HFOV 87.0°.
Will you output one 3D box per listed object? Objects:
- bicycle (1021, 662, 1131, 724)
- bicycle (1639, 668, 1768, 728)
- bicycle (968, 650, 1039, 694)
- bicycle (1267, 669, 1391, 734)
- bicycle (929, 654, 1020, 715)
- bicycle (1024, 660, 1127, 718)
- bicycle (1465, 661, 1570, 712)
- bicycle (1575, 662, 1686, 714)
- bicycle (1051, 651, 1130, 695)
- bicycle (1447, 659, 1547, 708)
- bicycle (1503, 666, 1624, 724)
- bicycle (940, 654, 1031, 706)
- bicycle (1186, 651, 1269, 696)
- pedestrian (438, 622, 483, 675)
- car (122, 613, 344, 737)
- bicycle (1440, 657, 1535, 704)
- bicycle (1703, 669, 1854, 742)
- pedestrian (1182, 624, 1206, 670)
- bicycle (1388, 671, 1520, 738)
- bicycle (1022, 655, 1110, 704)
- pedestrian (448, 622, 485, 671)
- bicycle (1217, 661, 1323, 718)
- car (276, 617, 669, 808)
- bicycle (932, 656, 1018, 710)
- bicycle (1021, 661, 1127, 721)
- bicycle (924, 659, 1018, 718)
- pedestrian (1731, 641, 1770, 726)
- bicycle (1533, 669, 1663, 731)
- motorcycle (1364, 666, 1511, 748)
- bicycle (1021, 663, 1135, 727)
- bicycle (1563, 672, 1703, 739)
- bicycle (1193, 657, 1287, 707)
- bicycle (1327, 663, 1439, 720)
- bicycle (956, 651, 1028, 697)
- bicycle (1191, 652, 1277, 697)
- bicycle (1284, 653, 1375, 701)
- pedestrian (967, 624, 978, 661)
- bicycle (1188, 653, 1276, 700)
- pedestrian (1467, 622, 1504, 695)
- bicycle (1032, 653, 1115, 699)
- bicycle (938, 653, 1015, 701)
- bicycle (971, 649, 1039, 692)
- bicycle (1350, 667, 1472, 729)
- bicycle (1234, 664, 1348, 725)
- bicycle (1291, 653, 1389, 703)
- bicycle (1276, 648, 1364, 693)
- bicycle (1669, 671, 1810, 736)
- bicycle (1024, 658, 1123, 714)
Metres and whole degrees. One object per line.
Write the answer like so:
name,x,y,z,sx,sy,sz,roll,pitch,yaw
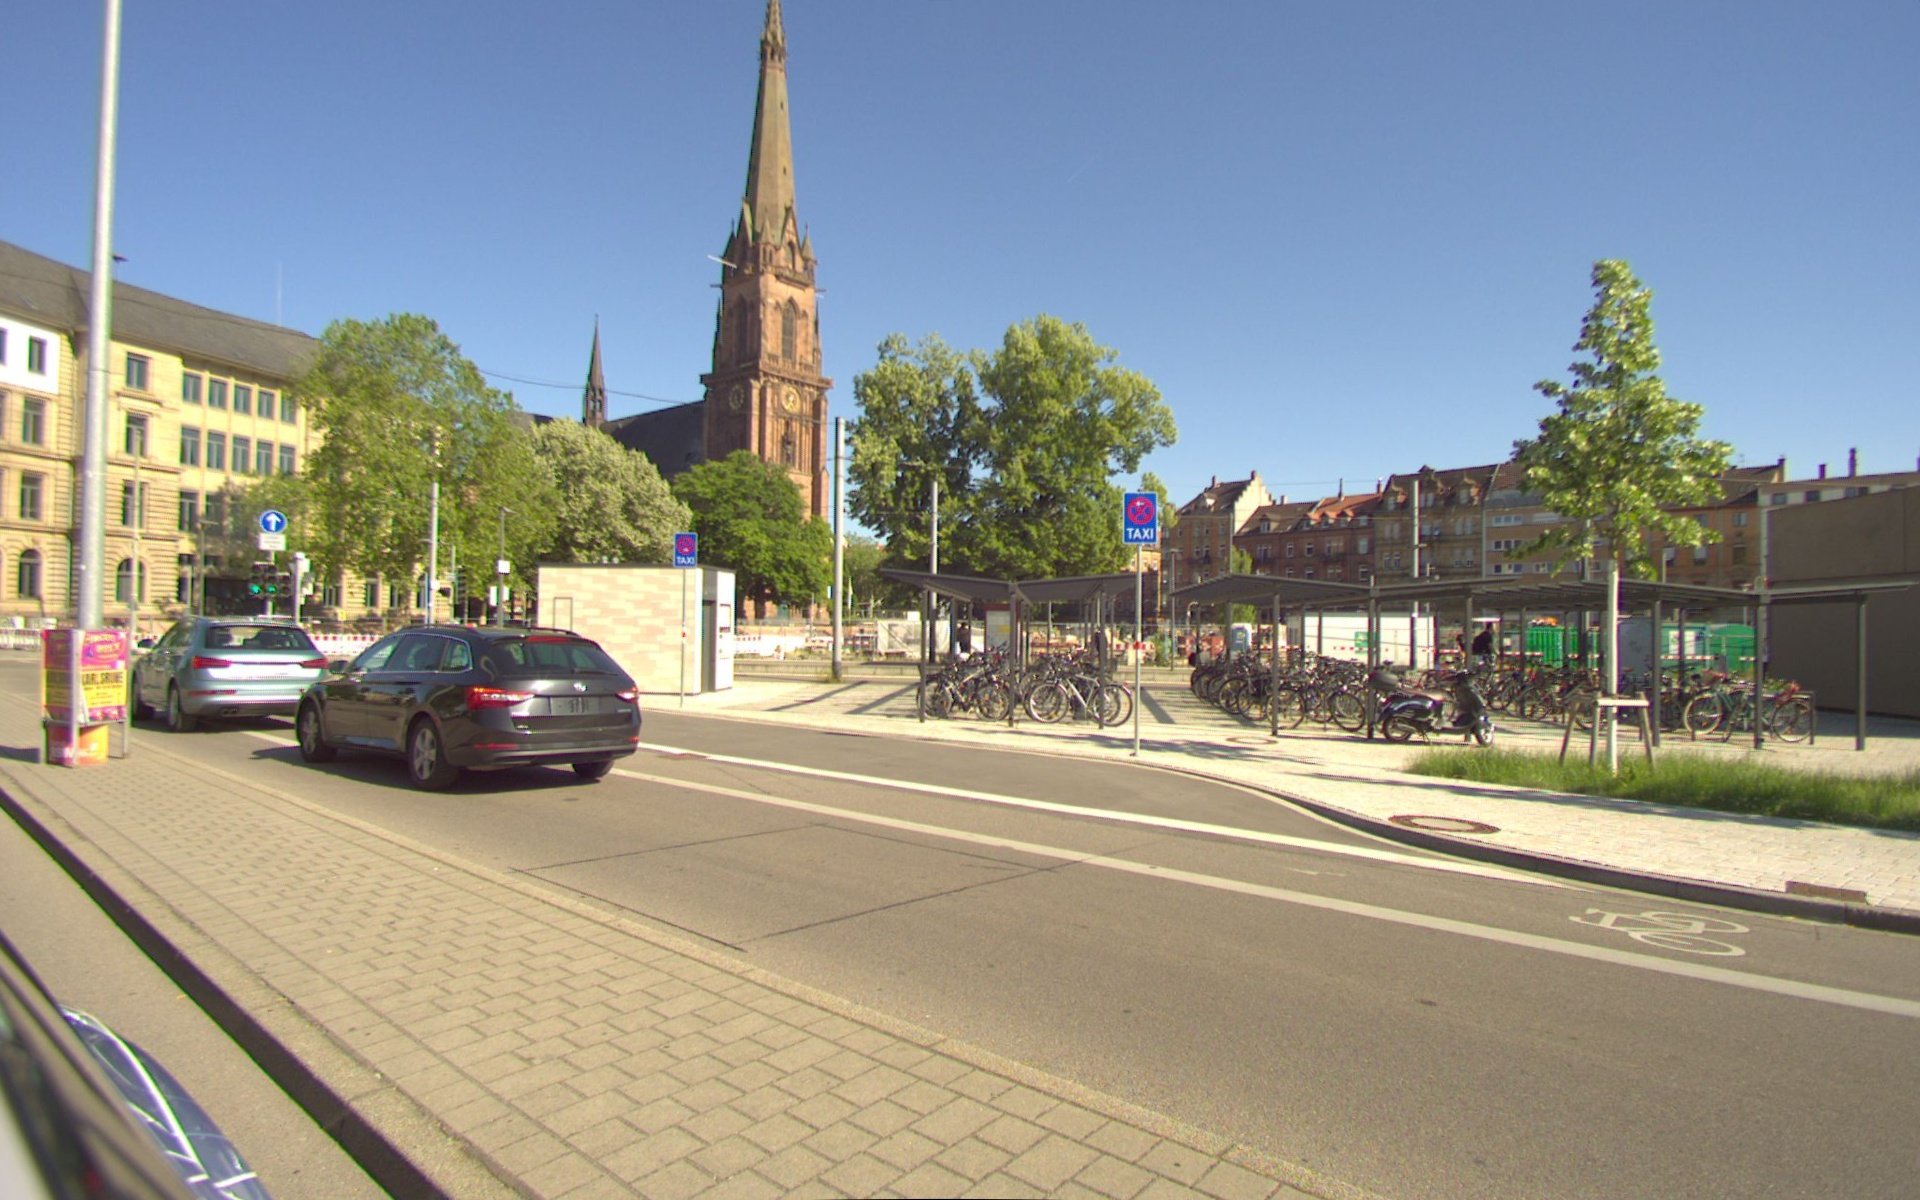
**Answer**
bicycle,2.020,1.619,17.679,1.882,1.016,0.456,0,-2,8
bicycle,13.470,1.771,18.369,1.882,1.016,0.456,0,-2,8
bicycle,1.043,1.709,24.231,1.652,1.016,0.456,0,-2,8
bicycle,6.122,1.676,16.844,1.882,1.016,0.456,0,-2,8
bicycle,0.281,1.562,18.781,1.652,1.069,0.456,0,-2,8
bicycle,2.137,1.640,18.748,1.882,1.016,0.456,0,-2,8
bicycle,11.715,1.808,21.318,1.882,1.016,0.456,0,-2,8
bicycle,13.874,1.812,20.976,1.882,1.016,0.456,0,-2,8
bicycle,3.163,1.771,24.604,1.882,1.016,0.456,0,-2,8
bicycle,11.784,1.818,22.248,1.882,1.016,0.456,0,-2,8
bicycle,11.165,1.750,18.762,1.882,1.016,0.456,0,-2,8
bicycle,0.544,1.669,21.231,1.882,1.016,0.456,0,-2,8
bicycle,6.394,1.756,24.230,1.882,1.016,0.456,0,-2,8
pedestrian,-17.212,1.652,34.866,1.130,1.793,0.965,-1,-2,40
car,-10.782,1.022,14.893,4.241,1.554,1.835,-1,-4,44
bicycle,12.079,1.830,23.199,1.882,1.016,0.456,0,-2,8
bicycle,13.082,1.679,16.211,1.882,1.106,0.456,0,-2,8
pedestrian,9.393,1.884,40.674,0.792,1.793,0.977,0,-2,3
bicycle,8.029,1.686,16.498,1.882,1.016,0.456,0,-2,8
bicycle,2.298,1.716,21.925,1.882,1.016,0.456,0,-2,8
pedestrian,-18.666,1.748,38.281,0.802,1.793,0.965,-1,-2,40
bicycle,5.898,1.702,19.328,1.882,1.016,0.456,0,-2,8
car,-5.047,0.961,10.179,4.571,1.511,1.771,-1,-3,39
bicycle,0.306,1.625,19.893,1.652,1.016,0.456,0,-2,8
bicycle,2.055,1.627,18.266,1.882,1.016,0.456,0,-2,8
bicycle,0.202,1.580,18.196,1.652,1.016,0.456,0,-2,8
pedestrian,19.446,2.035,24.896,0.718,2.029,0.678,-1,-4,41
bicycle,11.101,1.726,17.646,1.882,1.016,0.456,0,-2,8
motorcycle,7.162,1.597,15.230,1.924,1.160,0.516,0,-2,6
bicycle,1.990,1.597,17.119,1.882,1.016,0.456,0,-2,8
bicycle,10.973,1.712,16.541,1.882,1.016,0.456,0,-2,8
bicycle,5.966,1.741,21.614,1.882,1.016,0.456,0,-2,8
bicycle,7.919,1.706,19.001,1.882,1.016,0.456,0,-2,8
bicycle,0.747,1.704,23.486,1.652,1.016,0.456,0,-2,8
bicycle,6.366,1.726,23.572,1.882,1.016,0.456,0,-2,8
bicycle,8.316,1.729,22.823,1.882,1.016,0.456,0,-2,8
pedestrian,0.586,1.987,47.621,0.399,1.734,0.419,1,-2,-11
bicycle,6.149,1.732,22.948,1.882,1.016,0.456,0,-2,8
pedestrian,13.542,1.488,26.069,0.676,1.848,0.564,0,-2,8
bicycle,2.607,1.742,23.308,1.882,1.016,0.456,0,-2,8
bicycle,0.372,1.685,22.229,1.652,1.016,0.456,0,-2,8
bicycle,1.107,1.723,24.947,1.652,1.016,0.456,0,-2,8
bicycle,7.895,1.703,17.768,1.882,1.016,0.456,0,-2,8
bicycle,5.900,1.677,18.097,1.882,1.016,0.456,0,-2,8
bicycle,8.057,1.655,21.524,1.882,1.016,0.456,0,-2,8
bicycle,8.487,1.646,23.915,1.882,1.016,0.456,0,-2,8
bicycle,13.129,1.737,17.070,1.882,1.016,0.456,0,-2,8
bicycle,2.197,1.653,19.589,1.882,1.016,0.456,0,-2,8
